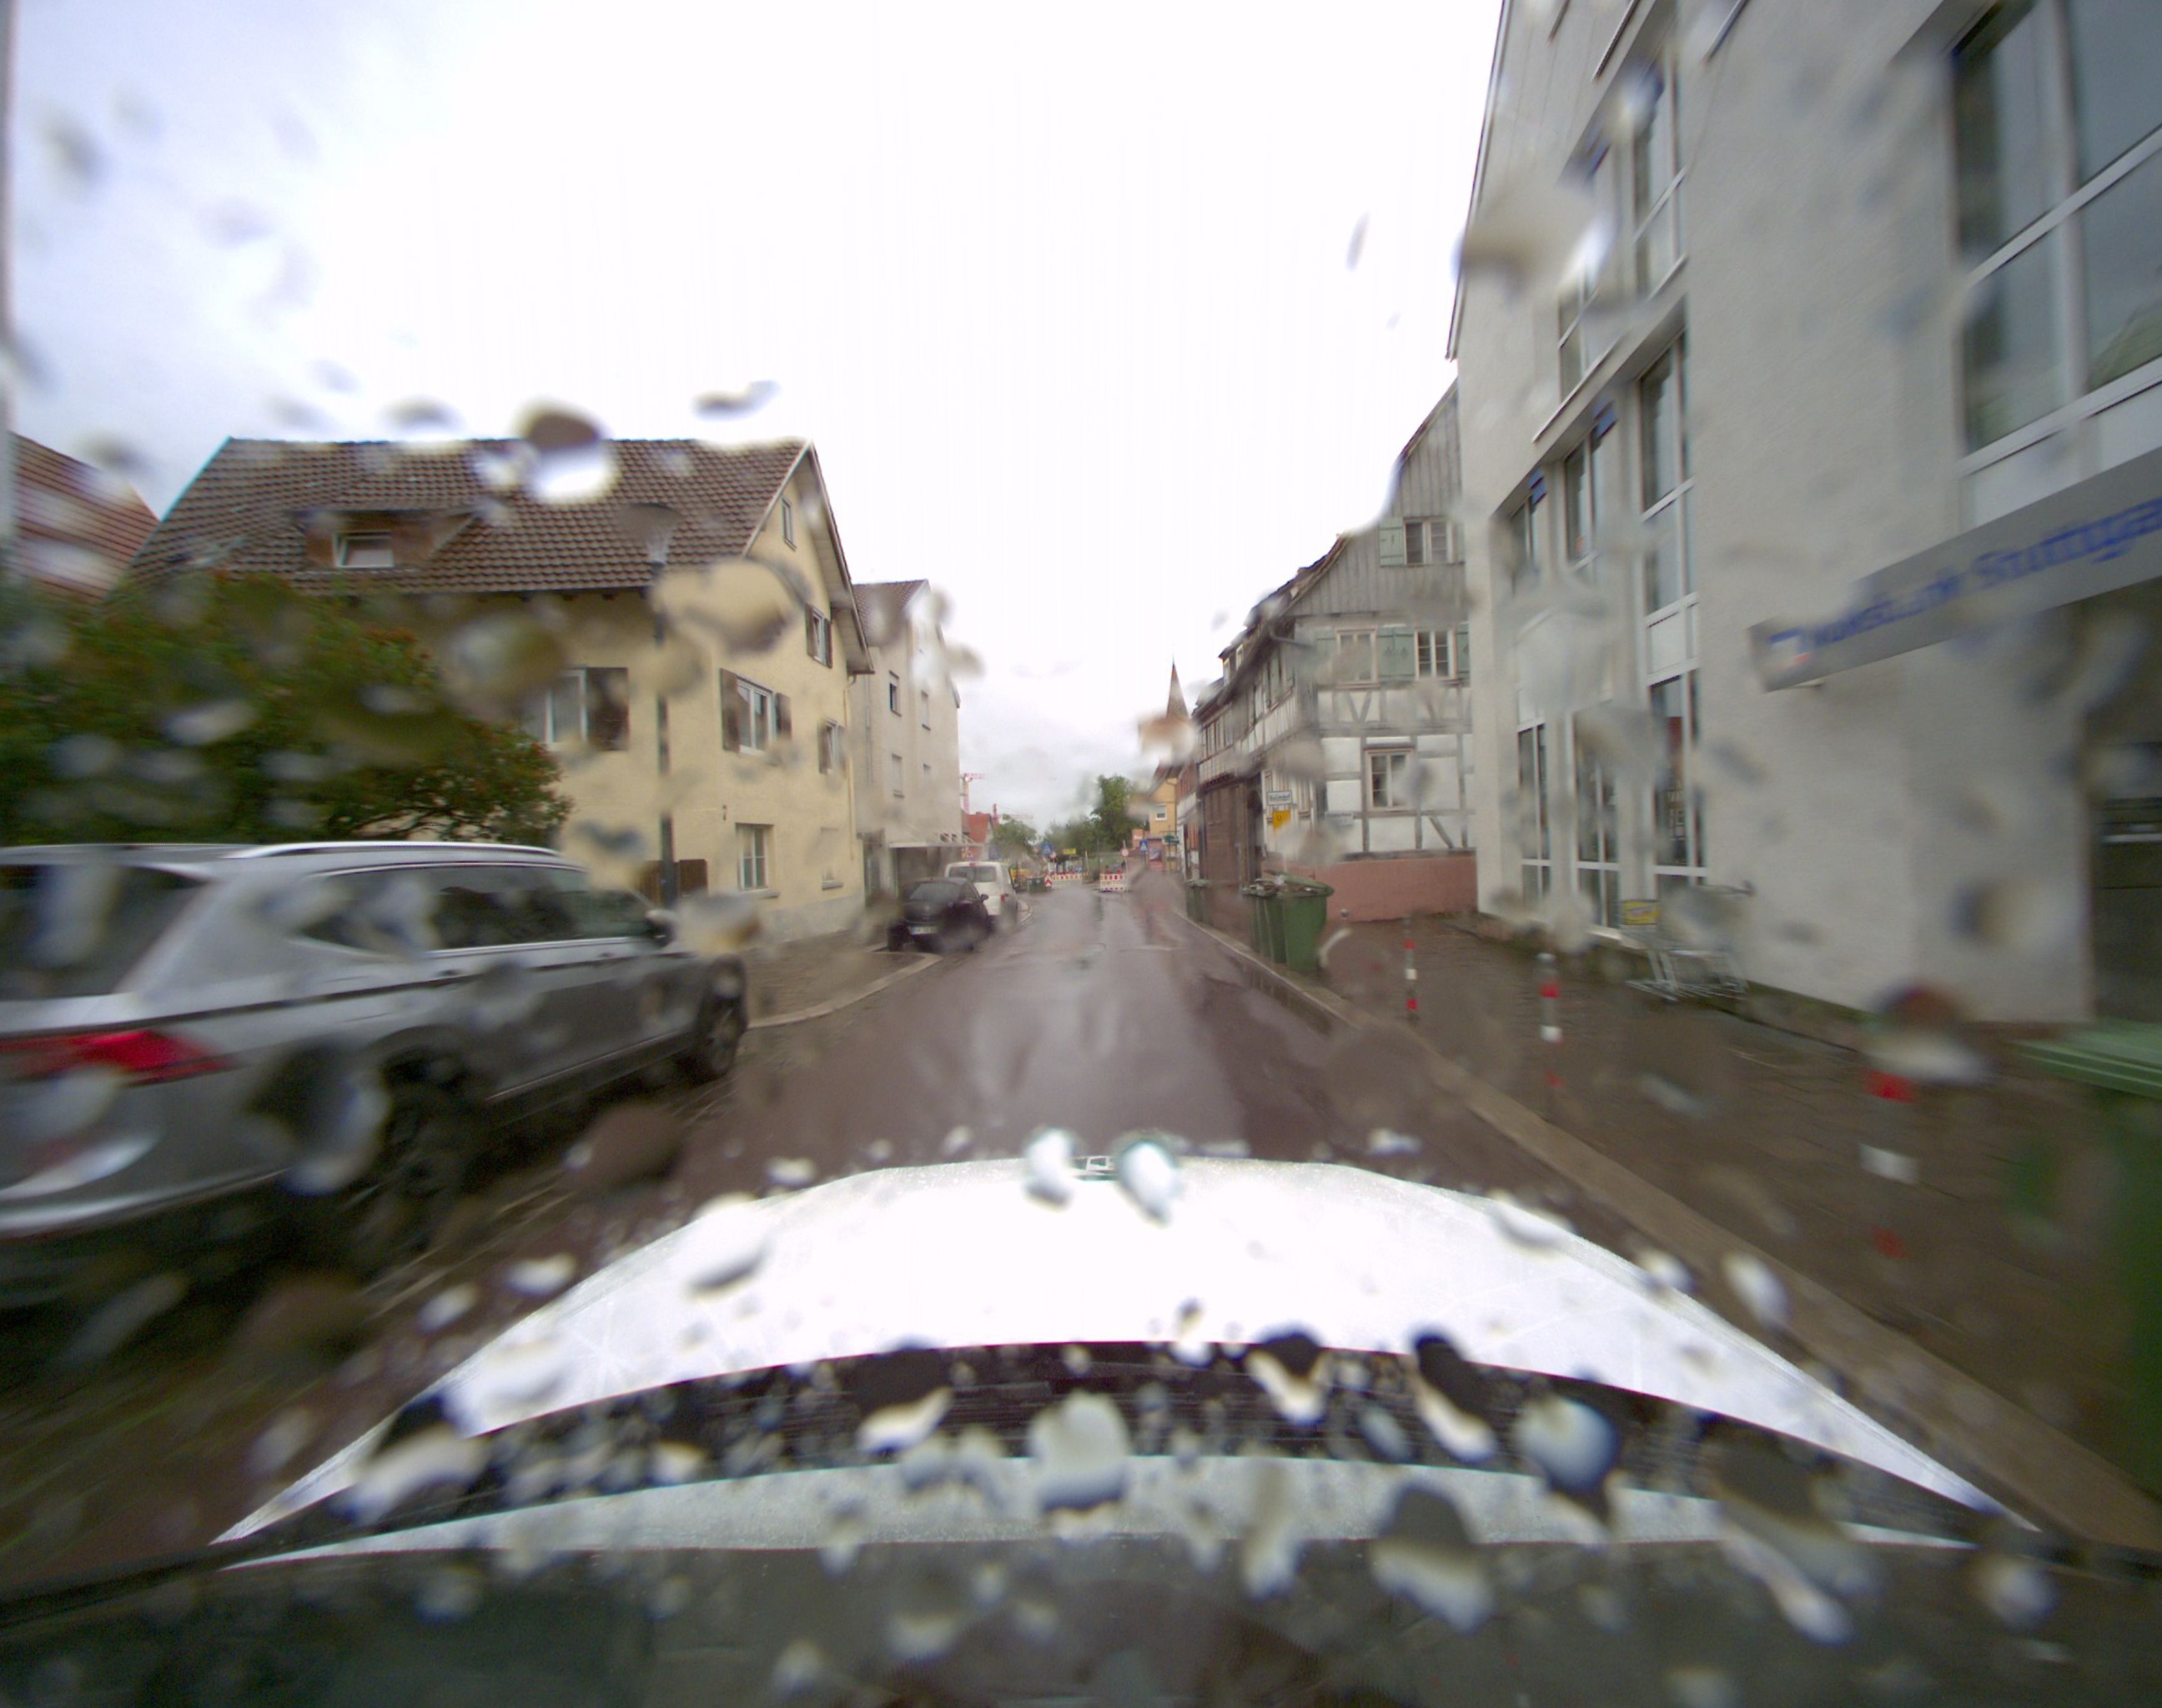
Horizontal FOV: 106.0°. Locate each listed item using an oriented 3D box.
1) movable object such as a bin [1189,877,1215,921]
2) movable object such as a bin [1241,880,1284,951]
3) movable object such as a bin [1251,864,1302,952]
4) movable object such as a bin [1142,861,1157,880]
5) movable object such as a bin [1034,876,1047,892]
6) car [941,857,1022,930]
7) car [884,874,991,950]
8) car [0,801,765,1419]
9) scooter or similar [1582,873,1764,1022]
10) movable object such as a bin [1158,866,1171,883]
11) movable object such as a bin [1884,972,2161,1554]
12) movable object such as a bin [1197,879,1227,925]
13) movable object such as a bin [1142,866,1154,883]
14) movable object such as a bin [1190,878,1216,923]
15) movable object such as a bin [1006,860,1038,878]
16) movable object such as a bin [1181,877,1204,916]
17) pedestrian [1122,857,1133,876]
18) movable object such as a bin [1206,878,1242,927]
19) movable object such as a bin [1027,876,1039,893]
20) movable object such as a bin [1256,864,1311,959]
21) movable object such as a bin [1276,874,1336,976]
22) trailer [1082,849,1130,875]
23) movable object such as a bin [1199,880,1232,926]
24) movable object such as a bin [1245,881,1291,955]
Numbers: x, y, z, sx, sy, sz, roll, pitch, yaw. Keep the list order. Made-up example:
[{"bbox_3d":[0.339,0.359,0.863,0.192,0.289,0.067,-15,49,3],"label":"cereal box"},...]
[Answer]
[{"bbox_3d":[3.296,1.210,22.175,0.634,1.147,0.581,-2,-1,6],"label":"movable object such as a bin"},{"bbox_3d":[3.043,1.019,13.679,0.613,1.131,0.633,-2,-1,6],"label":"movable object such as a bin"},{"bbox_3d":[2.946,0.802,12.307,0.634,1.290,0.633,-2,-1,6],"label":"movable object such as a bin"},{"bbox_3d":[5.883,1.415,70.082,1.059,1.512,1.245,-5,-1,9],"label":"movable object such as a bin"},{"bbox_3d":[-2.663,1.978,53.730,0.538,1.033,0.538,-6,-3,35],"label":"movable object such as a bin"},{"bbox_3d":[-2.722,1.062,23.171,1.718,1.825,4.426,-2,-1,-1],"label":"car"},{"bbox_3d":[-2.949,1.154,17.478,1.676,1.389,3.822,-2,-1,-2],"label":"car"},{"bbox_3d":[-3.435,0.721,4.284,1.774,1.569,4.407,-2,-1,0],"label":"car"},{"bbox_3d":[5.110,0.757,7.144,0.661,1.146,1.449,-2,-1,9],"label":"scooter or similar"},{"bbox_3d":[5.277,1.300,51.337,0.678,1.066,0.538,-4,-2,-7],"label":"movable object such as a bin"},{"bbox_3d":[2.659,0.899,1.836,0.801,1.131,0.862,-2,-1,0],"label":"movable object such as a bin"},{"bbox_3d":[3.357,1.224,20.891,0.636,1.147,0.632,-2,-1,-1],"label":"movable object such as a bin"},{"bbox_3d":[4.324,1.322,52.443,0.611,1.066,0.542,-5,-2,18],"label":"movable object such as a bin"},{"bbox_3d":[3.217,1.224,21.566,0.634,1.147,0.604,-2,-1,6],"label":"movable object such as a bin"},{"bbox_3d":[-7.138,1.842,99.132,3.388,2.014,3.481,-2,-1,3],"label":"movable object such as a bin"},{"bbox_3d":[3.351,1.277,24.515,0.607,1.128,0.599,-2,-1,1],"label":"movable object such as a bin"},{"bbox_3d":[4.566,1.241,80.182,0.988,1.759,0.850,-2,-1,-5],"label":"pedestrian"},{"bbox_3d":[3.322,1.128,18.949,0.676,1.096,0.650,-1,-1,-2],"label":"movable object such as a bin"},{"bbox_3d":[-3.186,2.030,54.087,0.535,1.037,0.576,-5,-3,35],"label":"movable object such as a bin"},{"bbox_3d":[2.855,0.802,11.523,0.634,1.290,0.633,-2,-1,6],"label":"movable object such as a bin"},{"bbox_3d":[2.959,0.922,10.780,0.634,1.290,0.633,-2,-1,6],"label":"movable object such as a bin"},{"bbox_3d":[3.078,0.986,100.682,5.769,2.948,1.997,-2,-1,-4],"label":"trailer"},{"bbox_3d":[3.330,1.203,20.240,0.667,1.081,0.587,-3,-2,0],"label":"movable object such as a bin"},{"bbox_3d":[2.982,1.013,13.011,0.613,1.131,0.633,-2,-1,6],"label":"movable object such as a bin"}]
